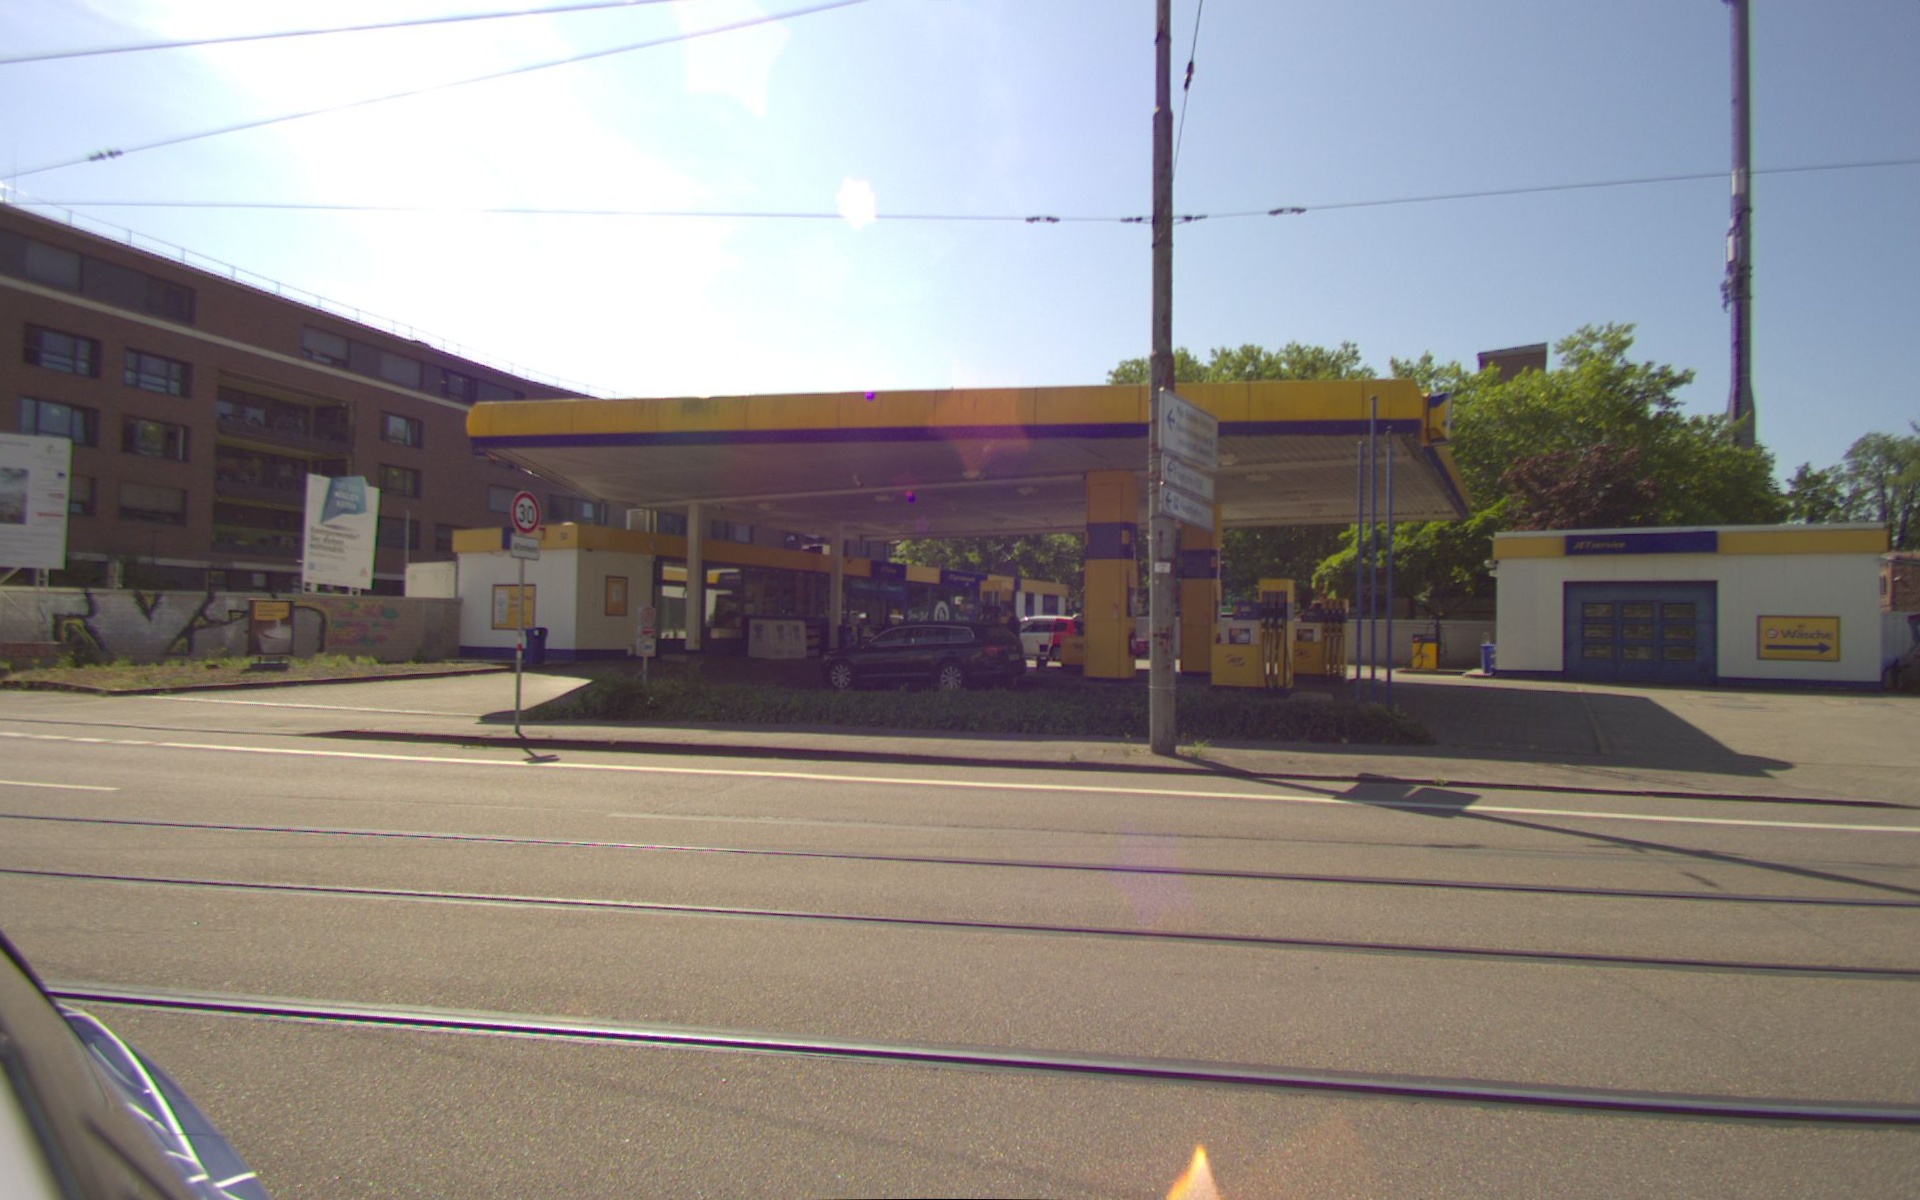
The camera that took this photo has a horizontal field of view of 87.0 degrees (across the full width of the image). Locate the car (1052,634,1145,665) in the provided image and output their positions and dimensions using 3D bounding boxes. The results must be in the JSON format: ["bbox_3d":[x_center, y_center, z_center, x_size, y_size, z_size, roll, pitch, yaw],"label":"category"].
[{"bbox_3d":[6.715,2.370,49.067,4.113,1.370,1.745,0,-2,28],"label":"car"}]

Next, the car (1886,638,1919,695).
[{"bbox_3d":[26.058,1.710,26.390,1.886,1.471,4.508,-3,-4,31],"label":"car"}]

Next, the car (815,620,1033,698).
[{"bbox_3d":[-0.802,1.204,21.568,4.391,1.466,1.744,-1,0,30],"label":"car"}]

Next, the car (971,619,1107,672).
[{"bbox_3d":[3.211,1.832,41.483,5.279,1.997,1.746,0,-2,26],"label":"car"}]

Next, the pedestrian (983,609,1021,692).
[{"bbox_3d":[0.911,1.074,21.764,0.736,1.738,0.856,1,-2,8],"label":"pedestrian"}]
